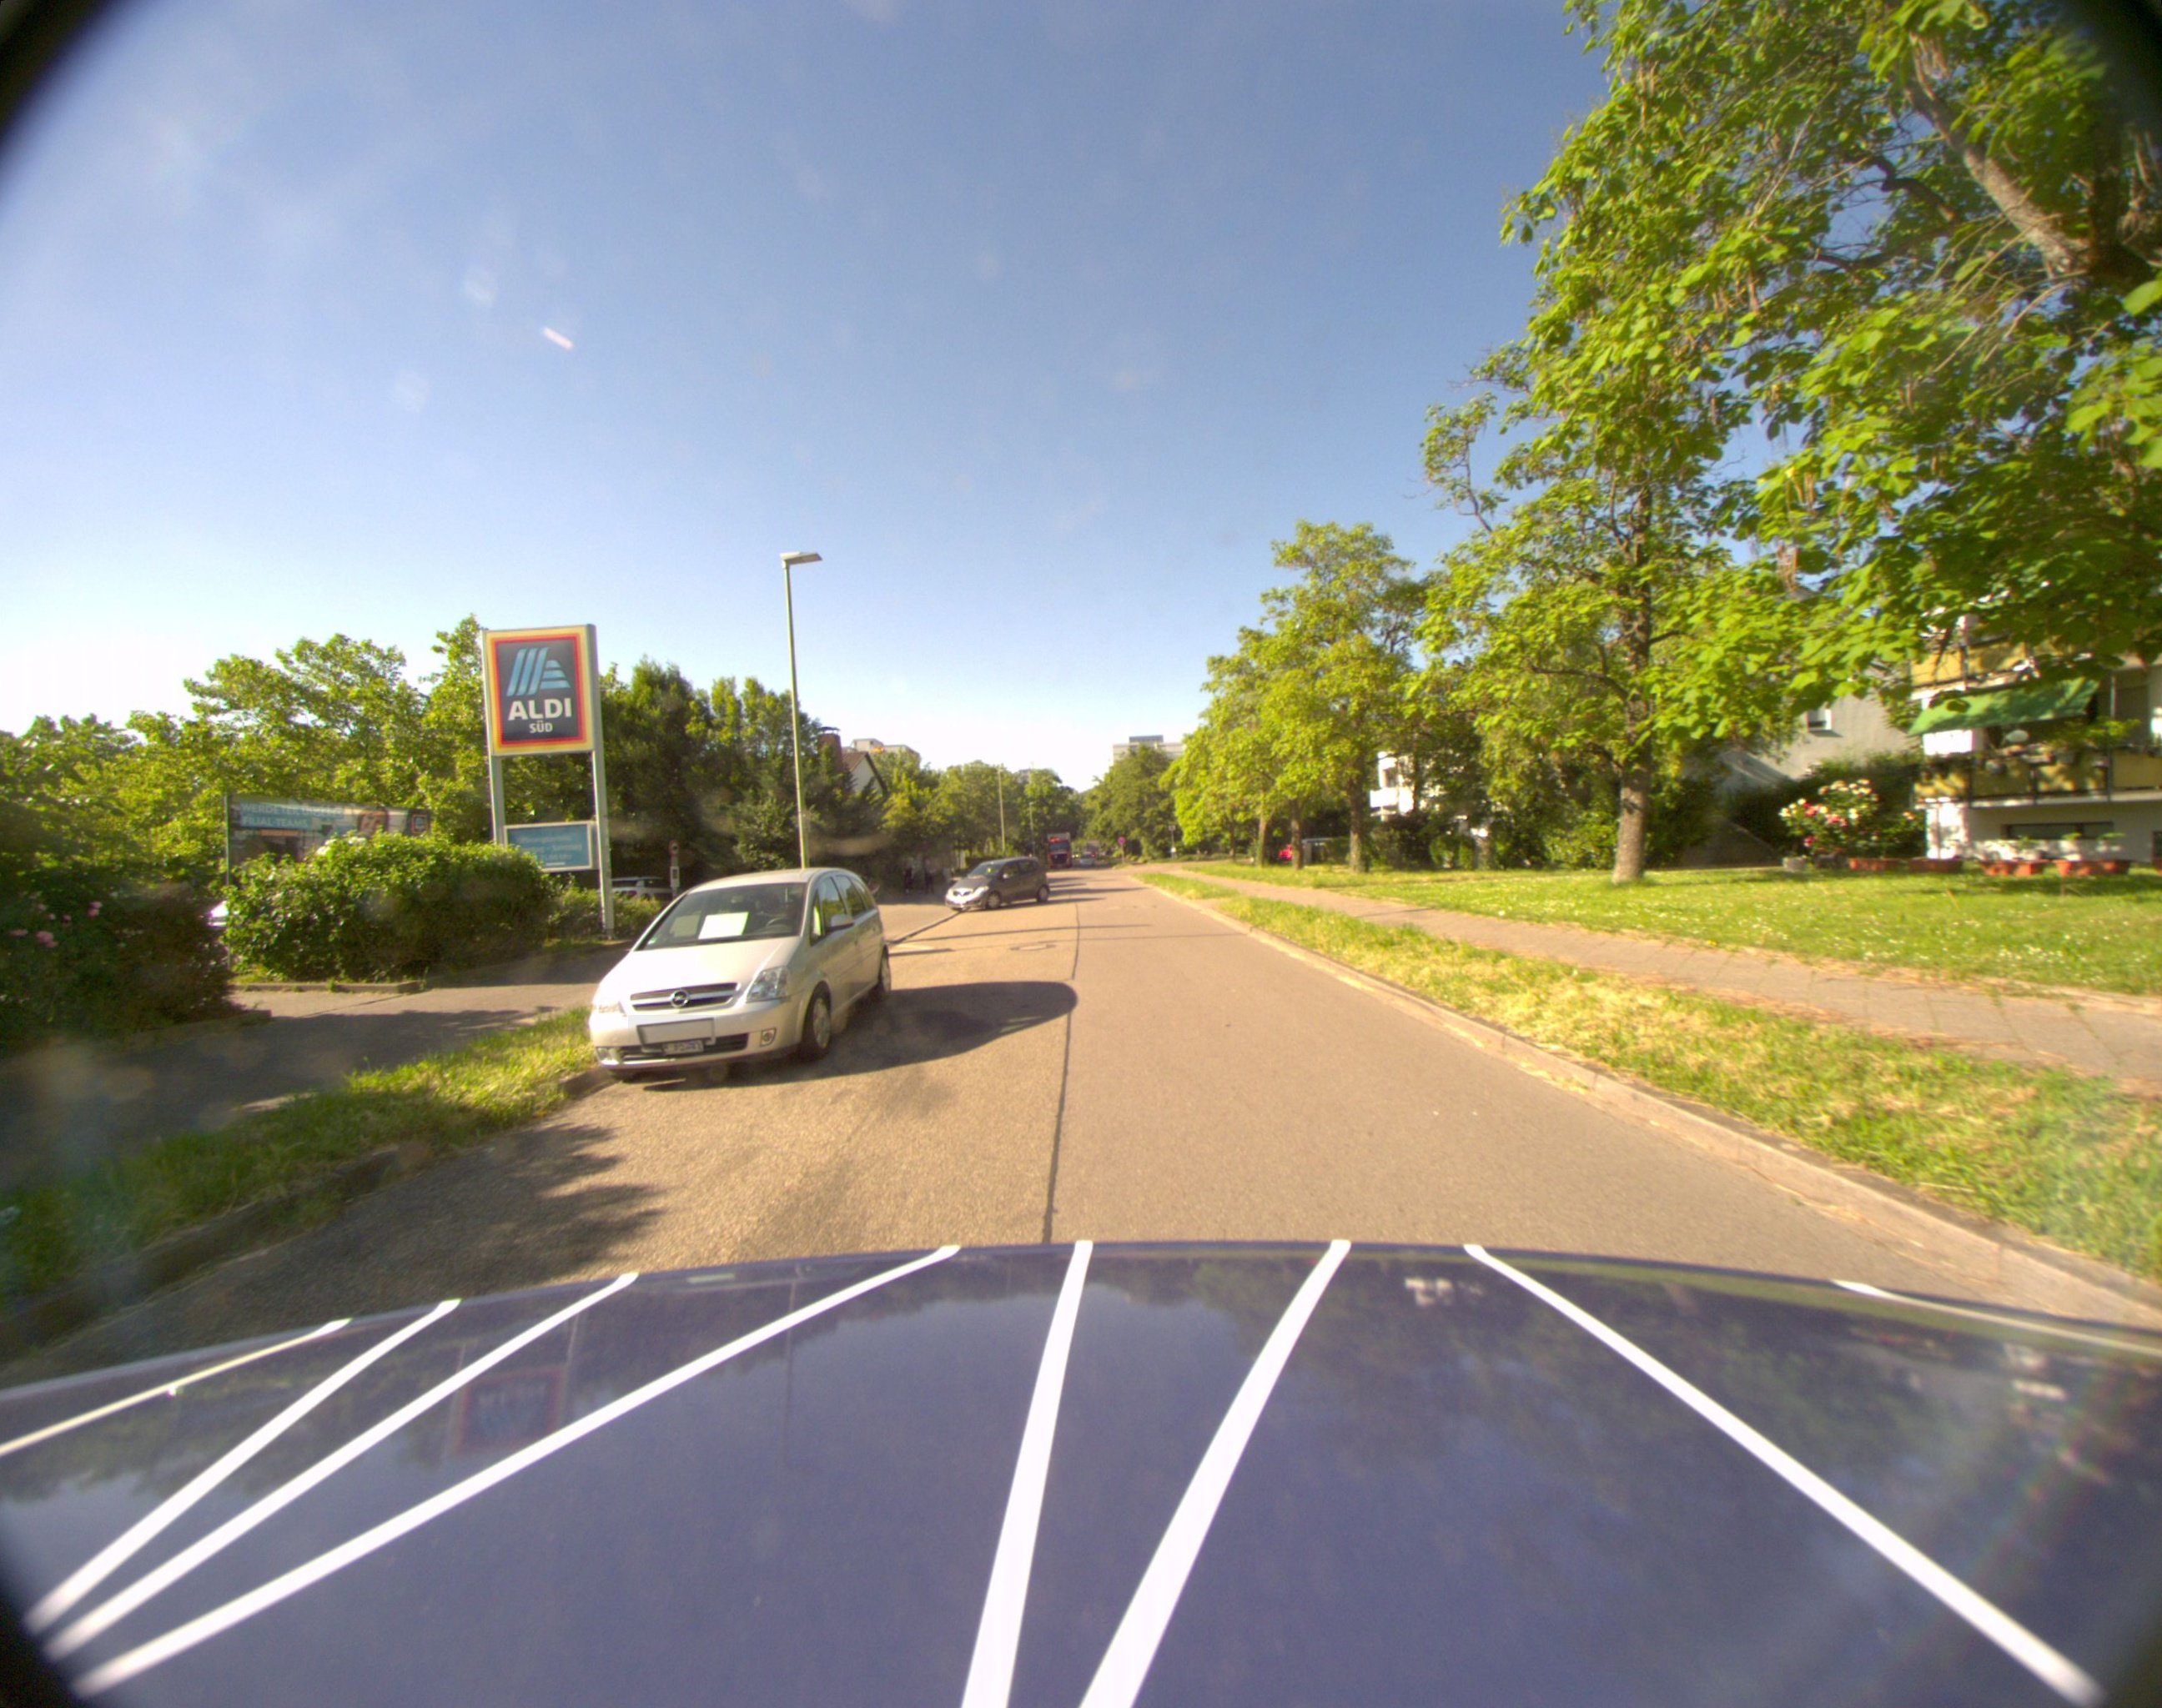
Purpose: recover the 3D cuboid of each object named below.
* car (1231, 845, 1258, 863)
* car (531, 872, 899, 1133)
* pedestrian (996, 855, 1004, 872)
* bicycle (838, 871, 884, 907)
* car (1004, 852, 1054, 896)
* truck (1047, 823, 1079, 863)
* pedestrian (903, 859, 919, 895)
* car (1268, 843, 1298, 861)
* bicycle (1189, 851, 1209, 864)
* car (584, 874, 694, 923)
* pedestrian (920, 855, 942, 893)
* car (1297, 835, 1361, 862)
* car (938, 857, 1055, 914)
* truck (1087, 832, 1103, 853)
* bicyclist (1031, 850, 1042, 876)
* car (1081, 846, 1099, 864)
[{"bbox_3d":[15.521,-0.055,72.192,1.674,1.479,3.884,-3,2,-1],"label":"car"},{"bbox_3d":[-3.042,1.087,7.355,1.684,1.590,4.026,-4,1,-3],"label":"car"},{"bbox_3d":[-7.936,0.949,74.254,0.641,1.629,0.641,-3,1,3],"label":"pedestrian"},{"bbox_3d":[-8.285,1.293,28.715,0.721,1.214,1.898,-1,2,16],"label":"bicycle"},{"bbox_3d":[-2.391,0.864,35.920,1.844,1.795,4.653,-3,1,1],"label":"car"},{"bbox_3d":[-2.040,-1.304,89.492,3.166,4.320,10.582,-3,1,1],"label":"truck"},{"bbox_3d":[-7.917,1.075,35.419,0.574,1.600,0.792,-1,2,-3],"label":"pedestrian"},{"bbox_3d":[18.775,-0.222,70.639,1.674,1.479,3.884,-3,2,-1],"label":"car"},{"bbox_3d":[11.745,0.364,75.613,1.902,1.146,0.760,-3,4,10],"label":"bicycle"},{"bbox_3d":[-16.405,1.610,28.413,1.777,1.494,3.802,-3,0,1],"label":"car"},{"bbox_3d":[-6.996,0.937,35.429,0.806,1.707,0.983,-1,2,-3],"label":"pedestrian"},{"bbox_3d":[20.135,-0.420,61.834,4.461,1.957,2.069,-2,0,3],"label":"car"},{"bbox_3d":[-2.744,1.015,25.361,1.851,1.635,3.762,-3,0,33],"label":"car"},{"bbox_3d":[2.712,-2.364,154.093,2.804,3.996,9.622,-1,2,-1],"label":"truck"},{"bbox_3d":[-3.567,0.703,61.112,0.753,2.002,0.711,-4,1,-1],"label":"bicyclist"},{"bbox_3d":[1.024,0.100,85.243,1.844,1.795,4.029,-3,1,2],"label":"car"}]
